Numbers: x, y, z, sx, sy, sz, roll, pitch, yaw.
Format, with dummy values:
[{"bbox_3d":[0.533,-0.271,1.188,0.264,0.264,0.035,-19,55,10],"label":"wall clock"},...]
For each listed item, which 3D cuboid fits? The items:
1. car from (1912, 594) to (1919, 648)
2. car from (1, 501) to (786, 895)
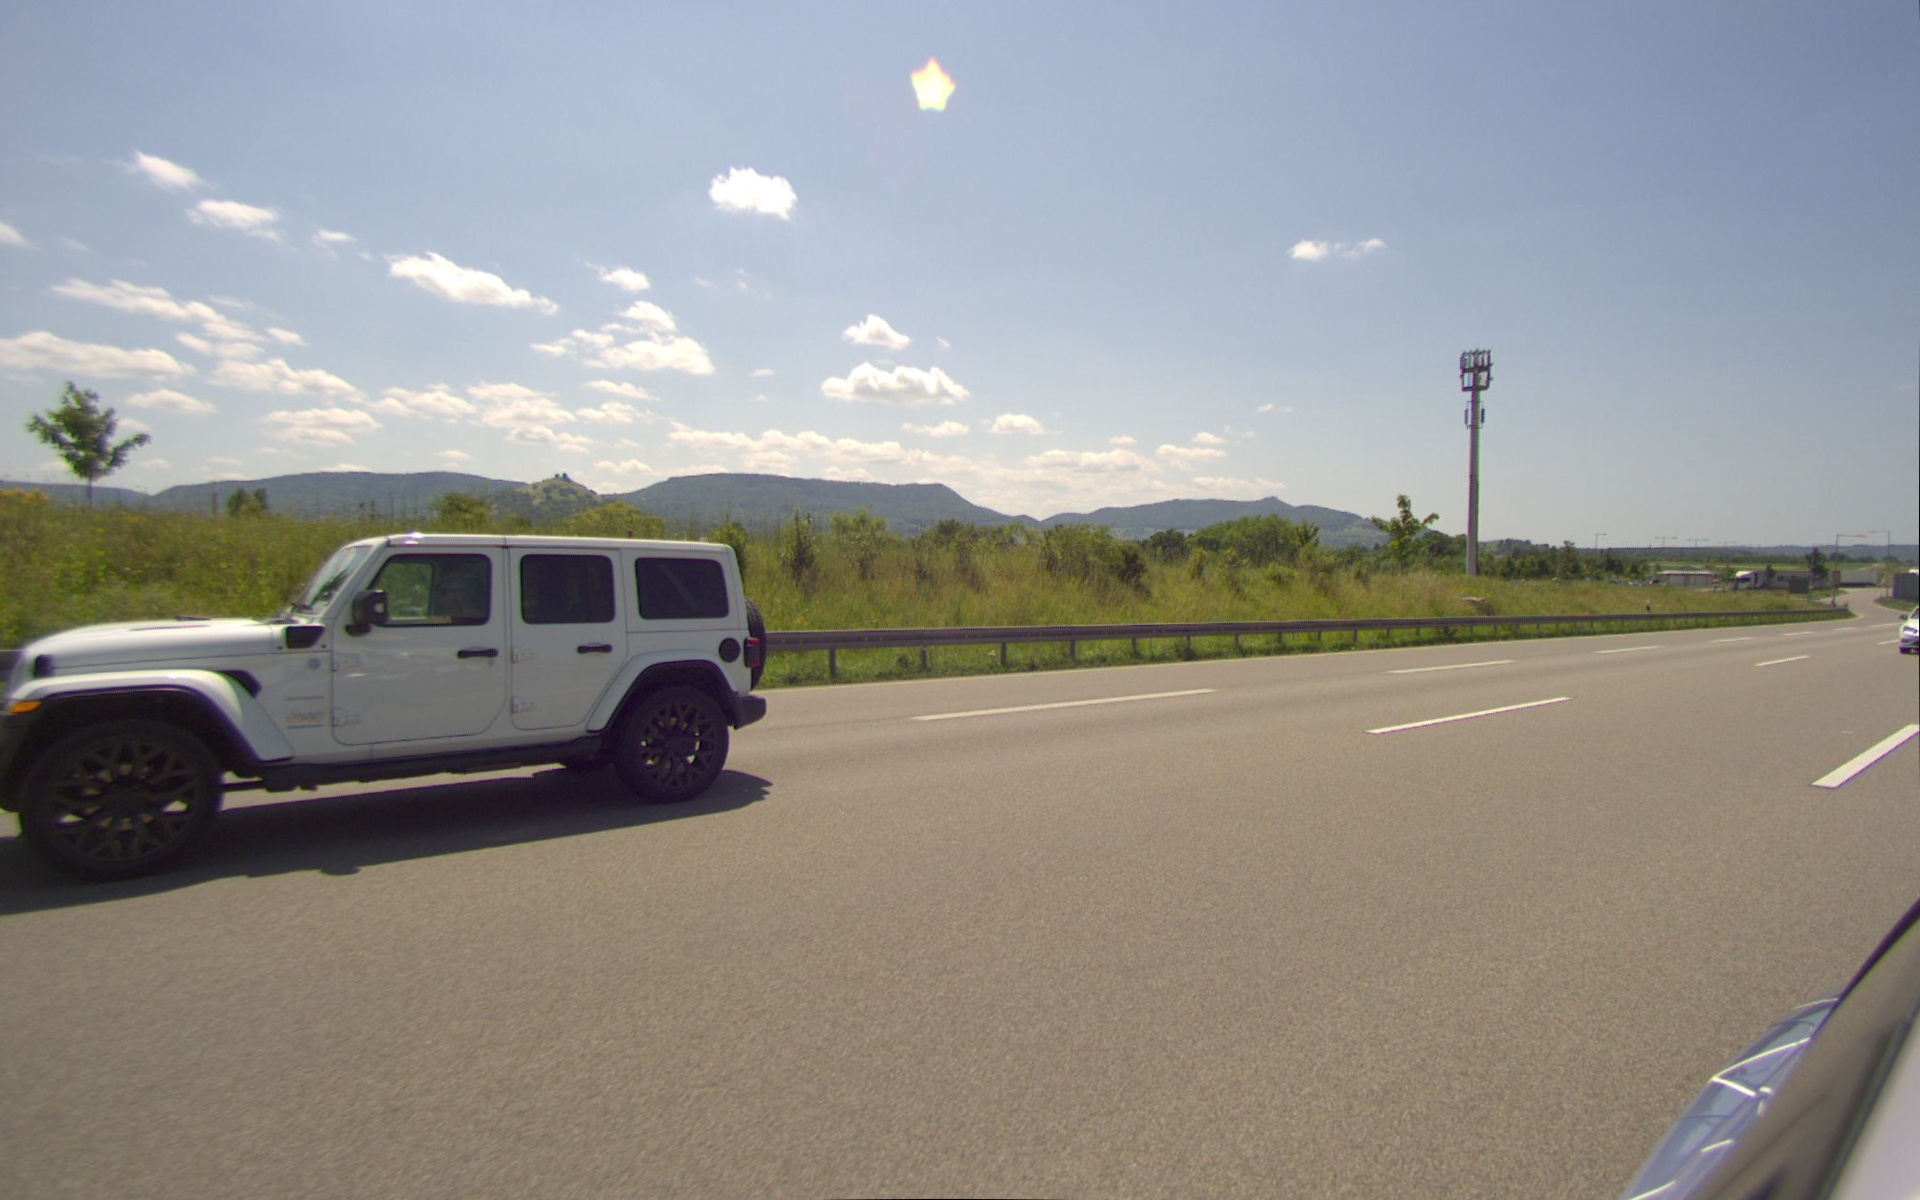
[{"bbox_3d":[28.078,0.552,28.261,4.610,1.451,1.779,-1,1,-41],"label":"car"},{"bbox_3d":[-3.513,0.429,6.836,4.176,1.827,2.038,0,1,-41],"label":"car"}]
